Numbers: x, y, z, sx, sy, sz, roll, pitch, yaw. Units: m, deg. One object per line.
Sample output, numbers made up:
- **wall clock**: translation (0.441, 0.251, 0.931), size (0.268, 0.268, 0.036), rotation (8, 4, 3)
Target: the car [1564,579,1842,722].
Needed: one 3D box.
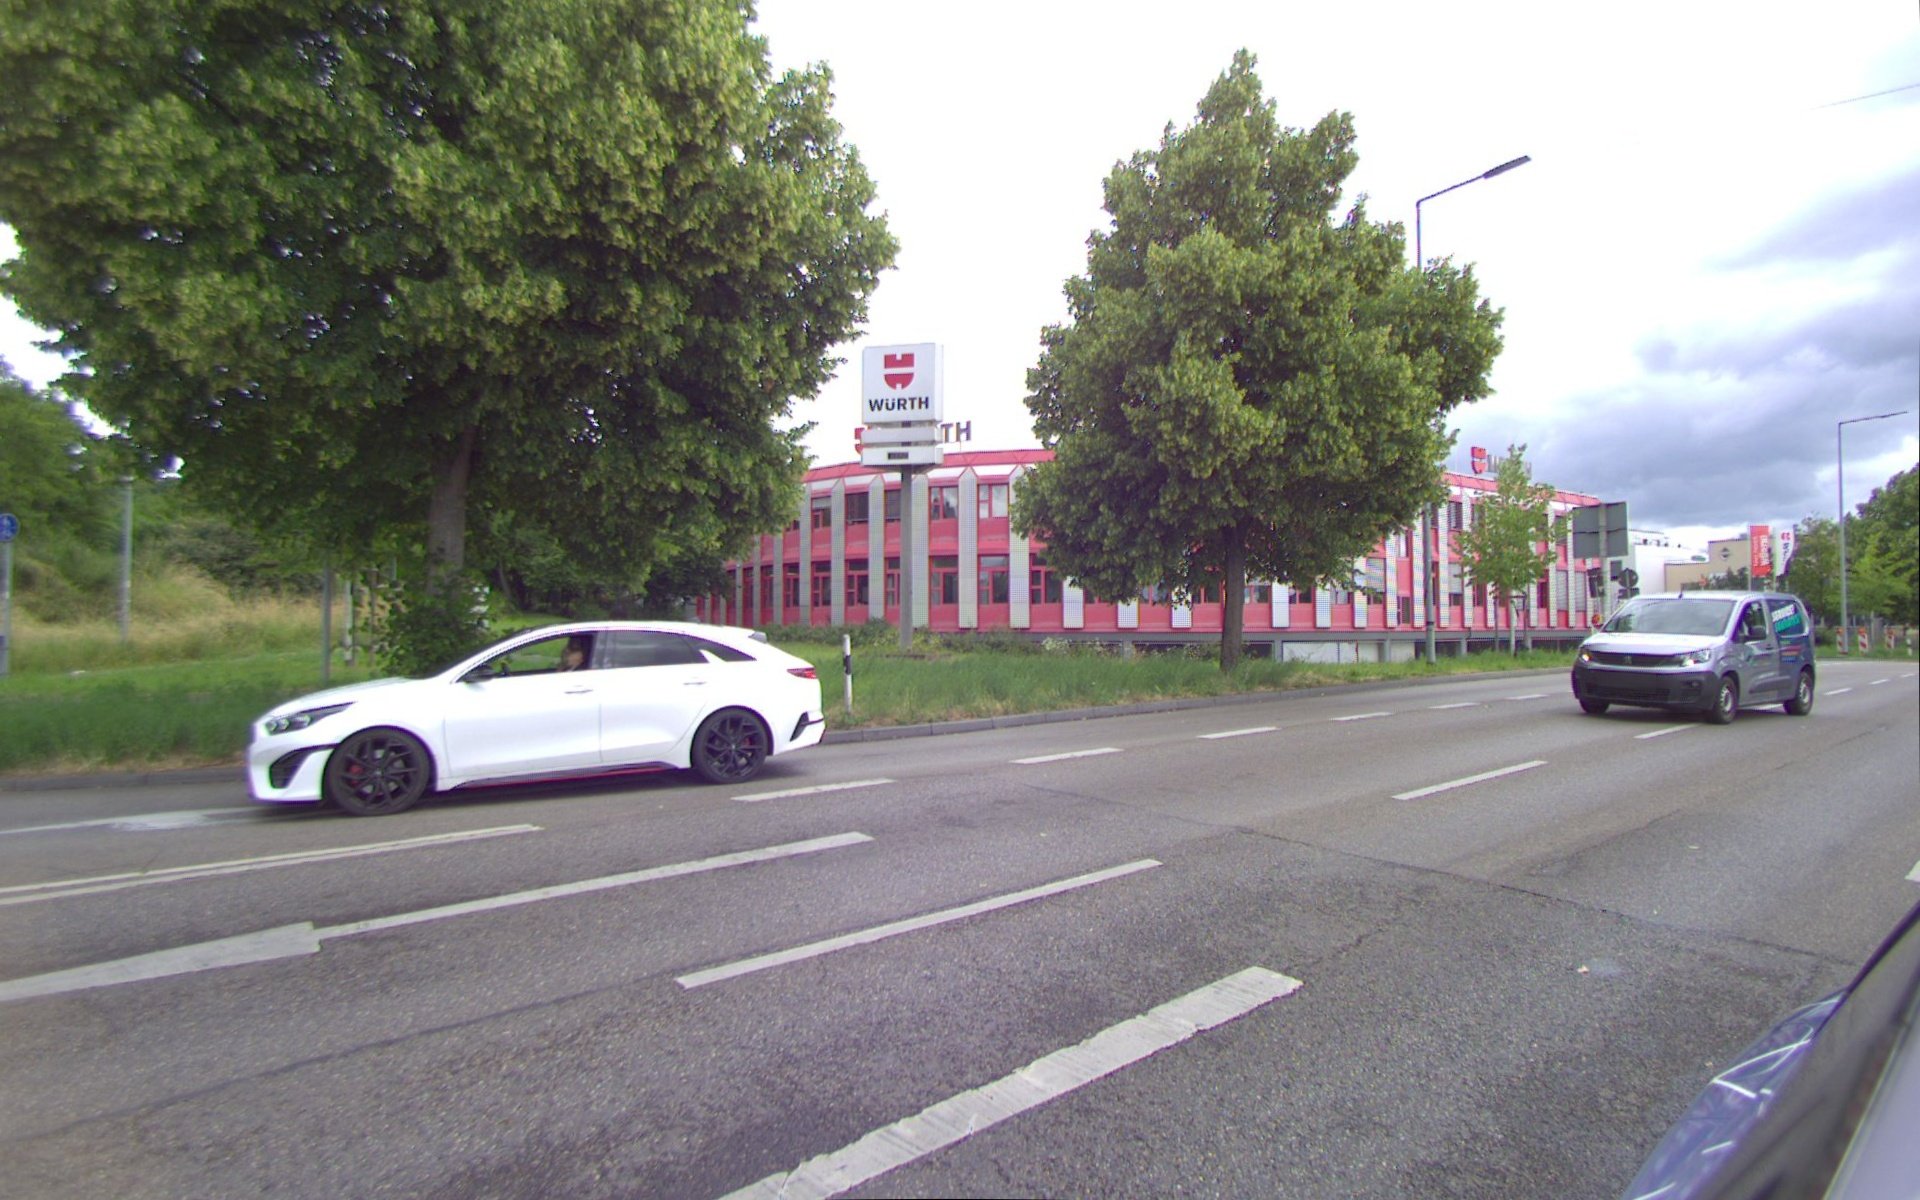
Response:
- **car**: translation (10.756, 0.628, 14.586), size (4.139, 1.802, 1.816), rotation (0, 0, -32)

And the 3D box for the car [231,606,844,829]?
- **car**: translation (-3.410, 0.824, 8.696), size (4.423, 1.438, 1.837), rotation (-1, -2, -29)
